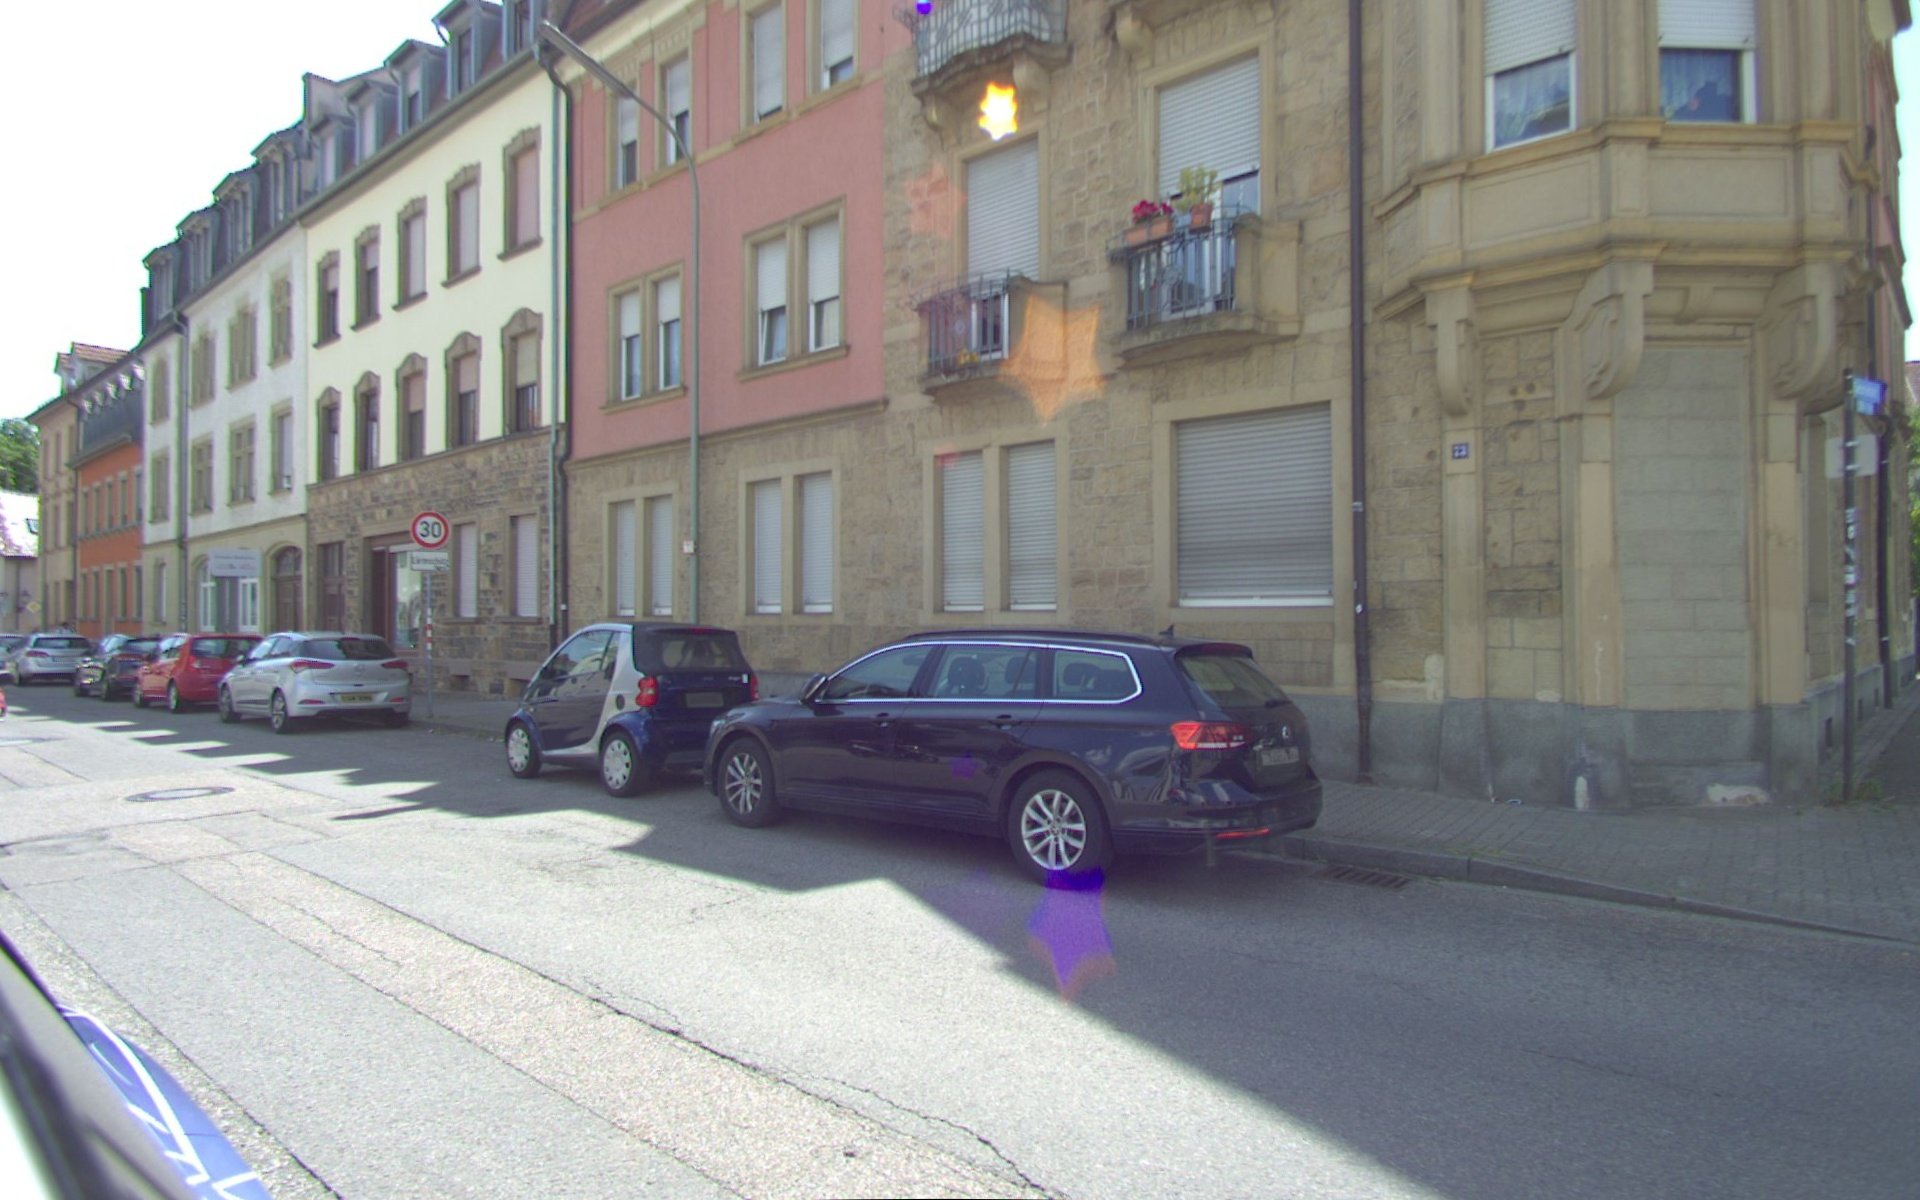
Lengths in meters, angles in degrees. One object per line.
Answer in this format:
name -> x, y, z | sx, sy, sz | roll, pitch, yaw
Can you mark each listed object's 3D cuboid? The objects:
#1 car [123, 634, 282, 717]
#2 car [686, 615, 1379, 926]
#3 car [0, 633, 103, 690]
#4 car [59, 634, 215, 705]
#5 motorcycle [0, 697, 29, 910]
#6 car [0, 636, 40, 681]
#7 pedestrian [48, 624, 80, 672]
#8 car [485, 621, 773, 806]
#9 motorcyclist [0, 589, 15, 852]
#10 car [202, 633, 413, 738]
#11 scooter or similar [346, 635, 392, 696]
car -> -14.680, 1.394, 19.566 | 3.490, 1.453, 1.583 | -2, -3, 38
car -> 0.220, 0.864, 6.985 | 4.631, 1.469, 1.764 | -1, -2, 40
car -> -26.460, 1.725, 29.219 | 4.377, 1.522, 1.859 | -2, -2, 39
car -> -18.722, 1.518, 22.974 | 4.212, 1.449, 1.854 | -2, -2, 38
motorcycle -> -5.905, 1.096, 5.660 | 1.989, 1.063, 0.750 | -2, -1, 39
car -> -33.165, 1.997, 34.785 | 3.849, 1.470, 1.693 | -2, -4, 39
pedestrian -> -34.269, 1.817, 38.707 | 0.763, 1.784, 0.761 | -2, 0, 38
car -> -3.253, 0.981, 9.820 | 2.692, 1.534, 1.422 | -1, -2, 39
motorcyclist -> -5.917, 0.680, 5.669 | 1.019, 1.451, 0.783 | -2, -1, 39
car -> -10.295, 1.258, 15.866 | 4.014, 1.442, 1.618 | -2, -4, 40
scooter or similar -> -12.381, 1.357, 21.194 | 1.318, 1.230, 0.371 | -2, -3, 39
